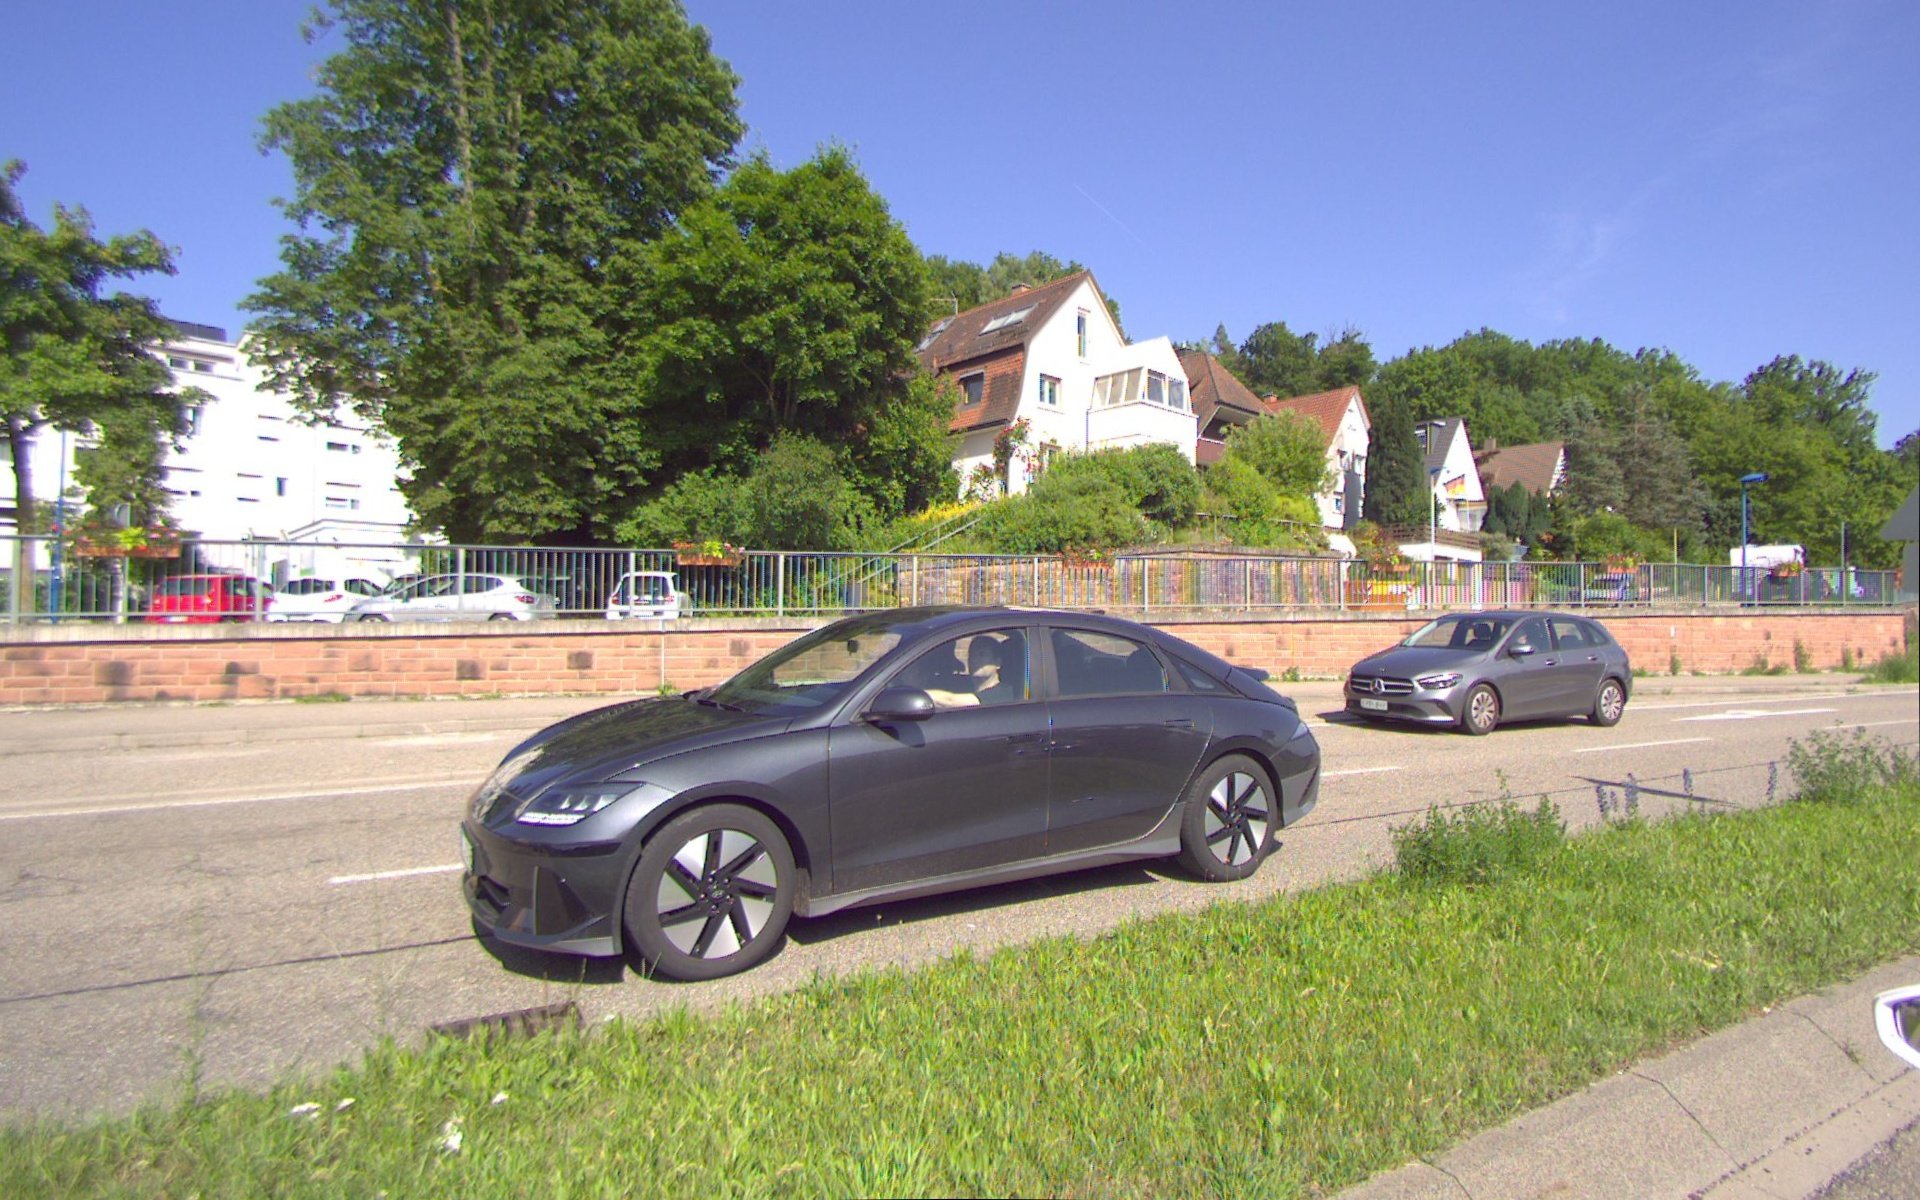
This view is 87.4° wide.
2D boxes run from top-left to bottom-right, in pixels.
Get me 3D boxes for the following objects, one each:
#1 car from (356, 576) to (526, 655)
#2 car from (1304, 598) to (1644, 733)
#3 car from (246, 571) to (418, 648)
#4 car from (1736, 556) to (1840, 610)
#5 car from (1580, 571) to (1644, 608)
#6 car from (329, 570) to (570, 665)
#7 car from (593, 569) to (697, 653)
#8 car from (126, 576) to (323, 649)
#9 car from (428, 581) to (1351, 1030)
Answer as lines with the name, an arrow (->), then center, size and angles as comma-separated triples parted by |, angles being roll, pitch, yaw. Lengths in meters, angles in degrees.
car -> -12.188, 0.299, 23.929 | 1.961, 1.694, 3.999 | 1, 1, 0
car -> 7.071, 0.801, 13.748 | 4.453, 1.585, 1.985 | 1, 0, -28
car -> -15.046, 0.157, 24.352 | 1.877, 1.724, 3.996 | 0, 2, -5
car -> 31.767, -0.661, 38.516 | 4.687, 1.946, 2.006 | 0, 2, -37
car -> 31.213, -0.462, 48.052 | 1.875, 1.651, 3.976 | 0, -1, 44
car -> -10.359, 0.363, 20.610 | 3.922, 1.813, 1.921 | 1, -1, -2
car -> -7.629, 0.209, 24.683 | 1.879, 1.901, 3.993 | 0, 1, -9
car -> -17.441, 0.228, 24.097 | 1.877, 1.581, 3.998 | 1, 1, -2
car -> -0.132, 0.717, 5.371 | 4.666, 1.490, 1.781 | 1, 0, -33
